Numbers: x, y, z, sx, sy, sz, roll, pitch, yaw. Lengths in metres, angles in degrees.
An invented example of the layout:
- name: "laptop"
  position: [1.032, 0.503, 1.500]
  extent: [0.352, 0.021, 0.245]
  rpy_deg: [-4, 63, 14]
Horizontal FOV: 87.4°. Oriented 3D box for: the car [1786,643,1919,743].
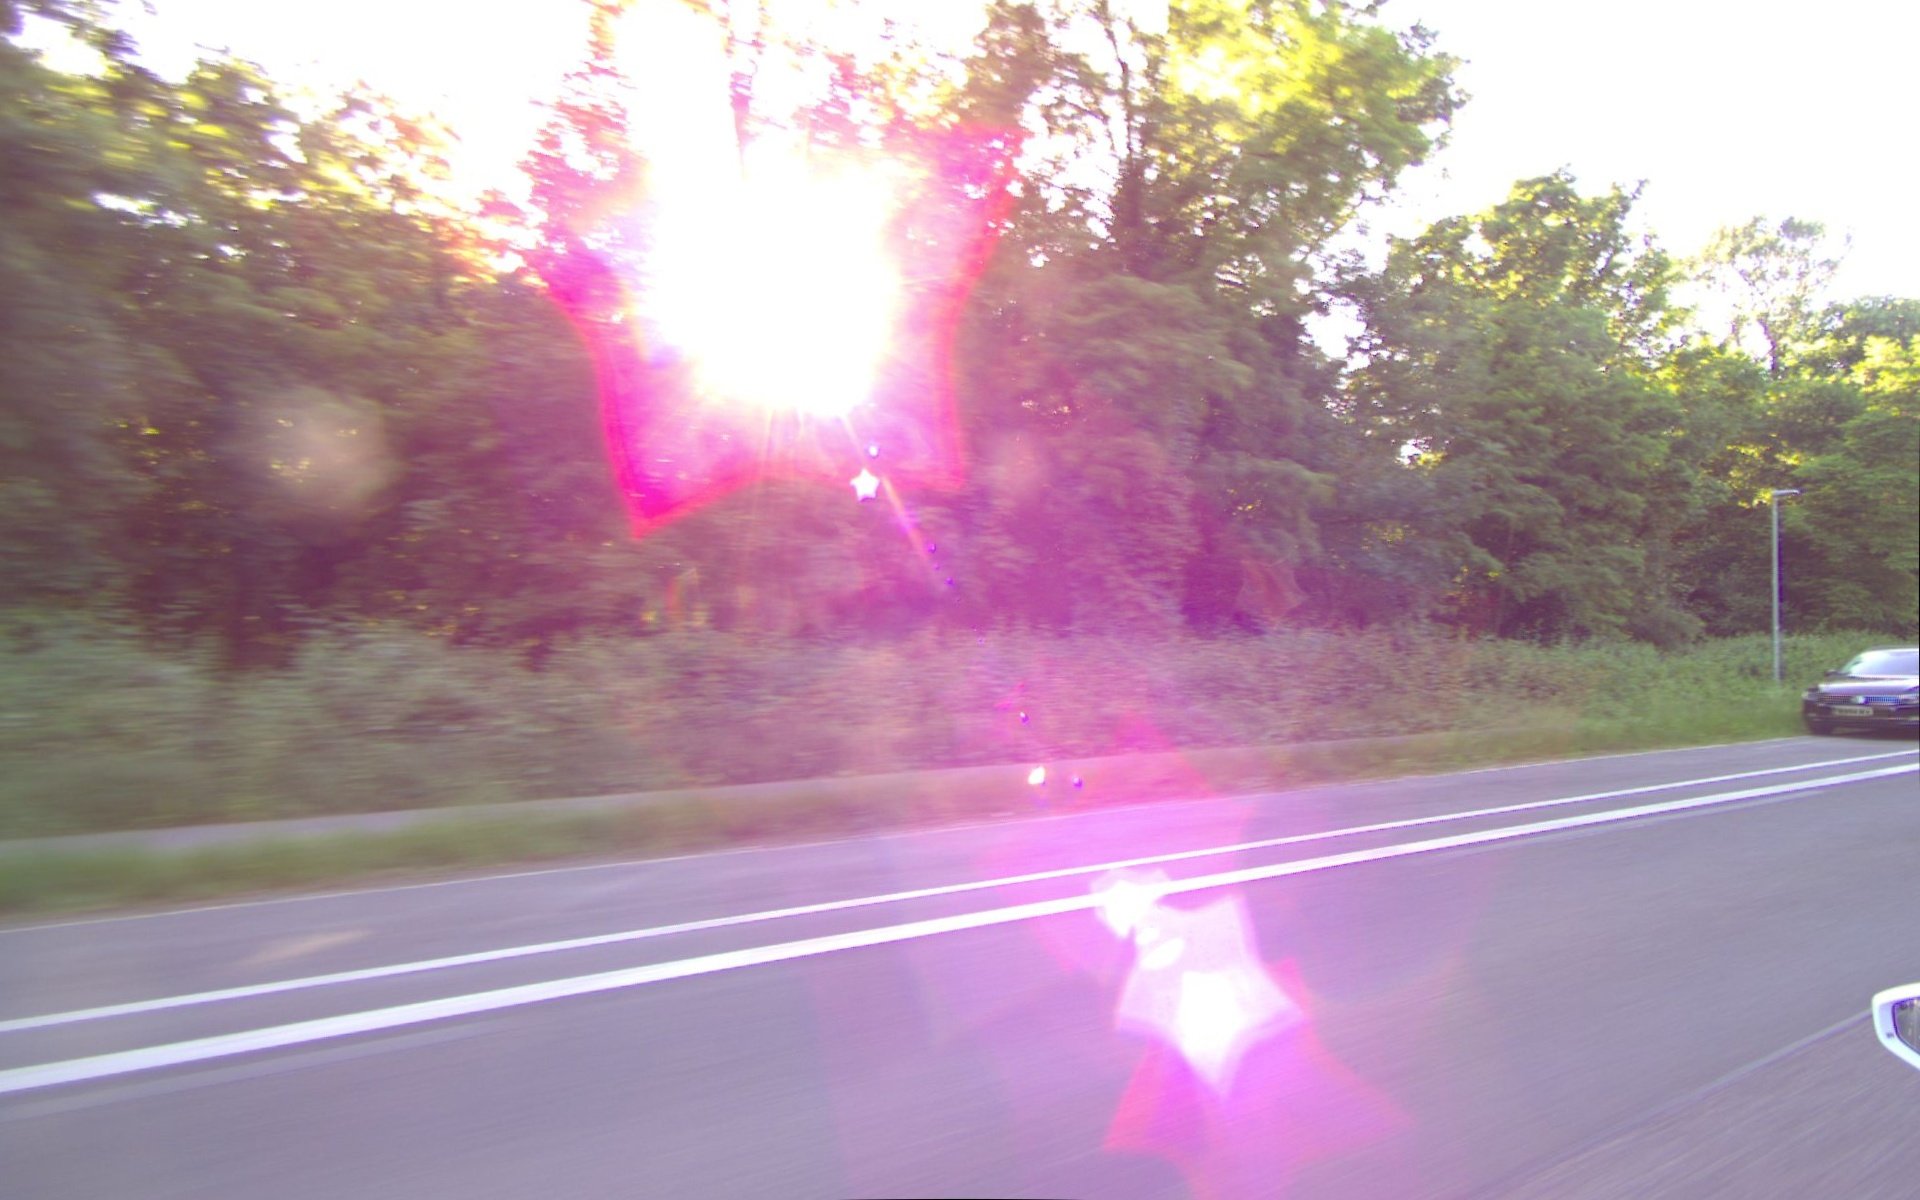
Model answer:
- name: "car"
  position: [16.173, 1.484, 17.032]
  extent: [4.728, 1.484, 1.846]
  rpy_deg: [1, -1, -30]
